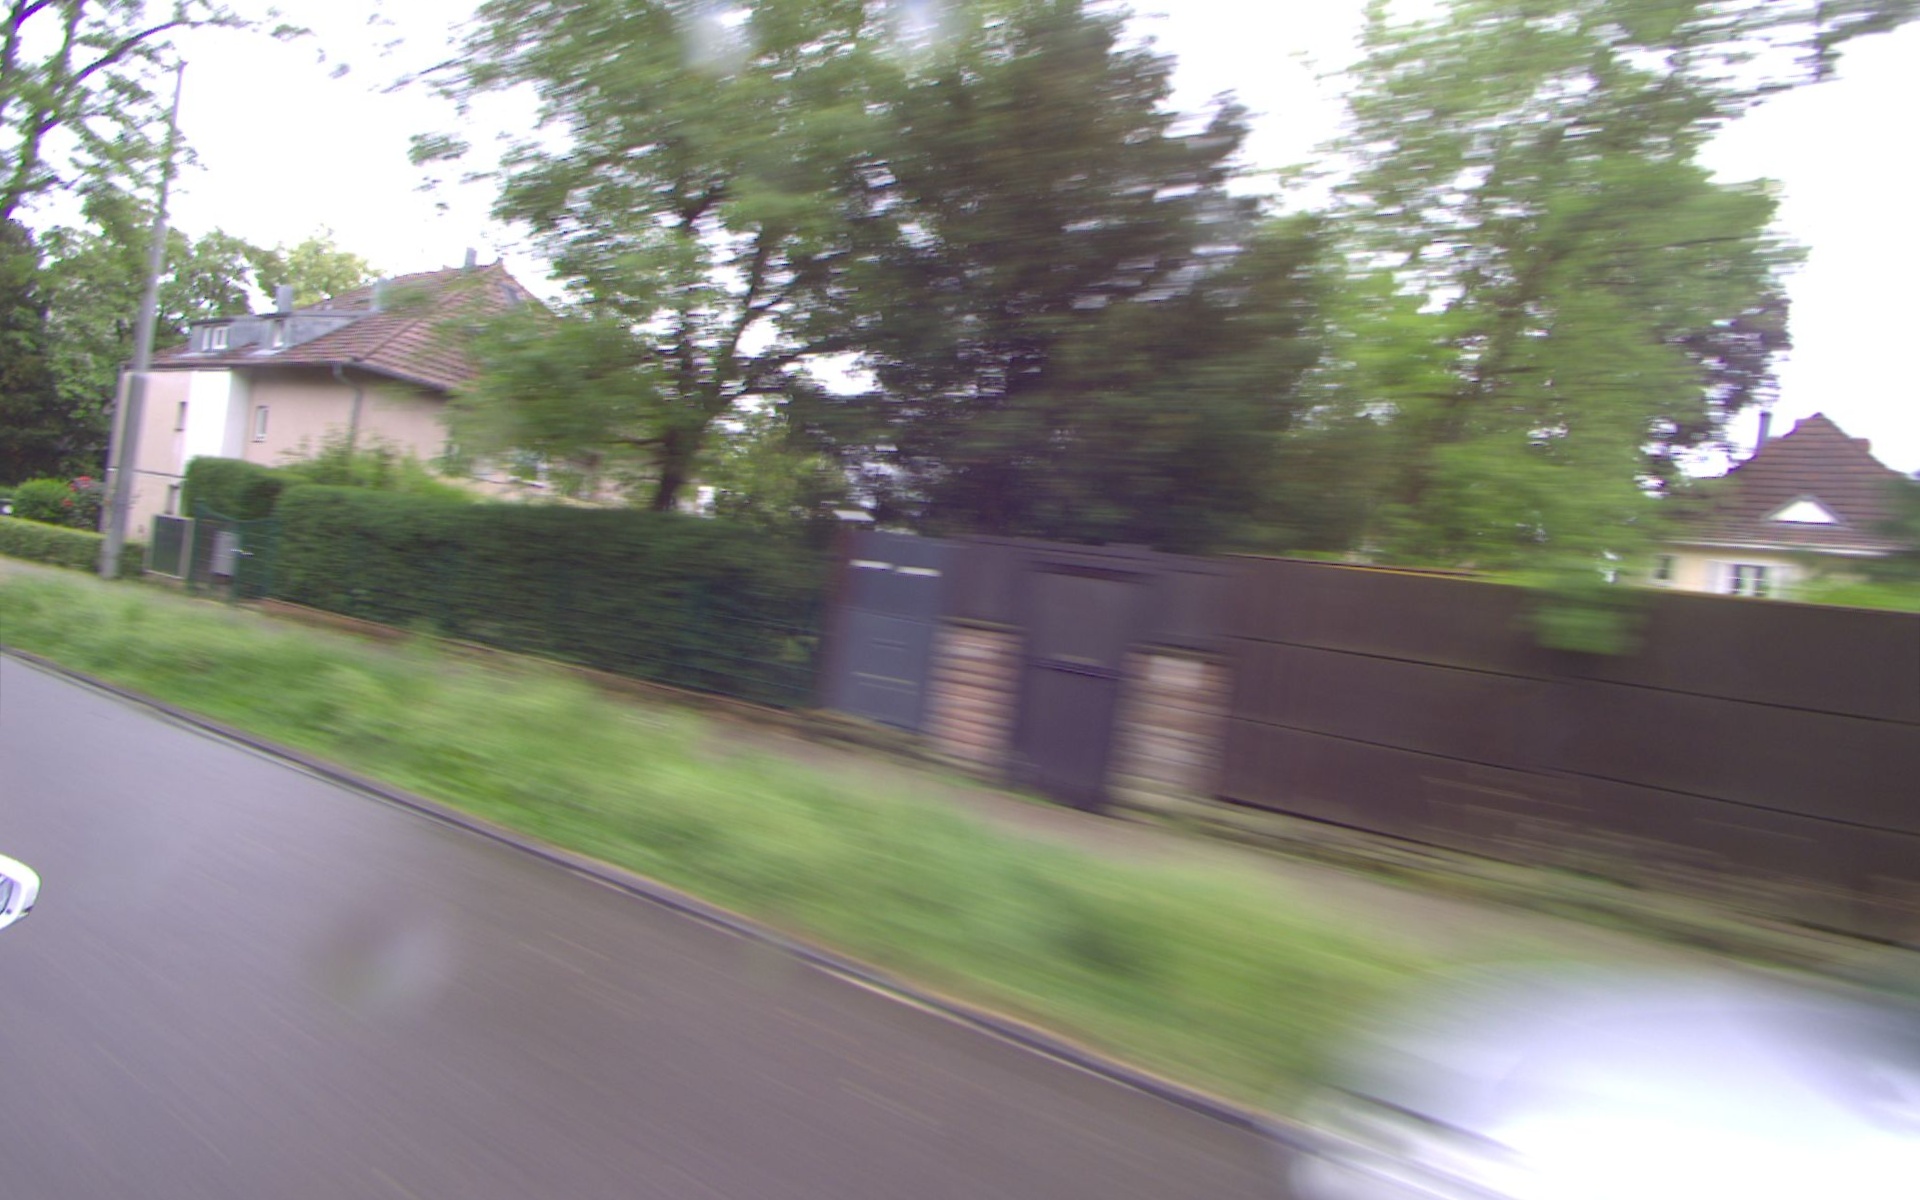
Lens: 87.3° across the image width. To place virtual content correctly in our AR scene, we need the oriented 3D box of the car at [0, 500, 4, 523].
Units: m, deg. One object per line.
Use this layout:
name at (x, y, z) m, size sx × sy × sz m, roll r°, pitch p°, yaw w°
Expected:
car at (-10.756, -0.442, 9.510) m, size 2.908 × 1.527 × 1.637 m, roll 8°, pitch -2°, yaw 31°

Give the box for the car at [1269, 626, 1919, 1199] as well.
car at (2.538, 1.105, 1.392) m, size 3.770 × 1.525 × 1.622 m, roll 8°, pitch -2°, yaw 31°
